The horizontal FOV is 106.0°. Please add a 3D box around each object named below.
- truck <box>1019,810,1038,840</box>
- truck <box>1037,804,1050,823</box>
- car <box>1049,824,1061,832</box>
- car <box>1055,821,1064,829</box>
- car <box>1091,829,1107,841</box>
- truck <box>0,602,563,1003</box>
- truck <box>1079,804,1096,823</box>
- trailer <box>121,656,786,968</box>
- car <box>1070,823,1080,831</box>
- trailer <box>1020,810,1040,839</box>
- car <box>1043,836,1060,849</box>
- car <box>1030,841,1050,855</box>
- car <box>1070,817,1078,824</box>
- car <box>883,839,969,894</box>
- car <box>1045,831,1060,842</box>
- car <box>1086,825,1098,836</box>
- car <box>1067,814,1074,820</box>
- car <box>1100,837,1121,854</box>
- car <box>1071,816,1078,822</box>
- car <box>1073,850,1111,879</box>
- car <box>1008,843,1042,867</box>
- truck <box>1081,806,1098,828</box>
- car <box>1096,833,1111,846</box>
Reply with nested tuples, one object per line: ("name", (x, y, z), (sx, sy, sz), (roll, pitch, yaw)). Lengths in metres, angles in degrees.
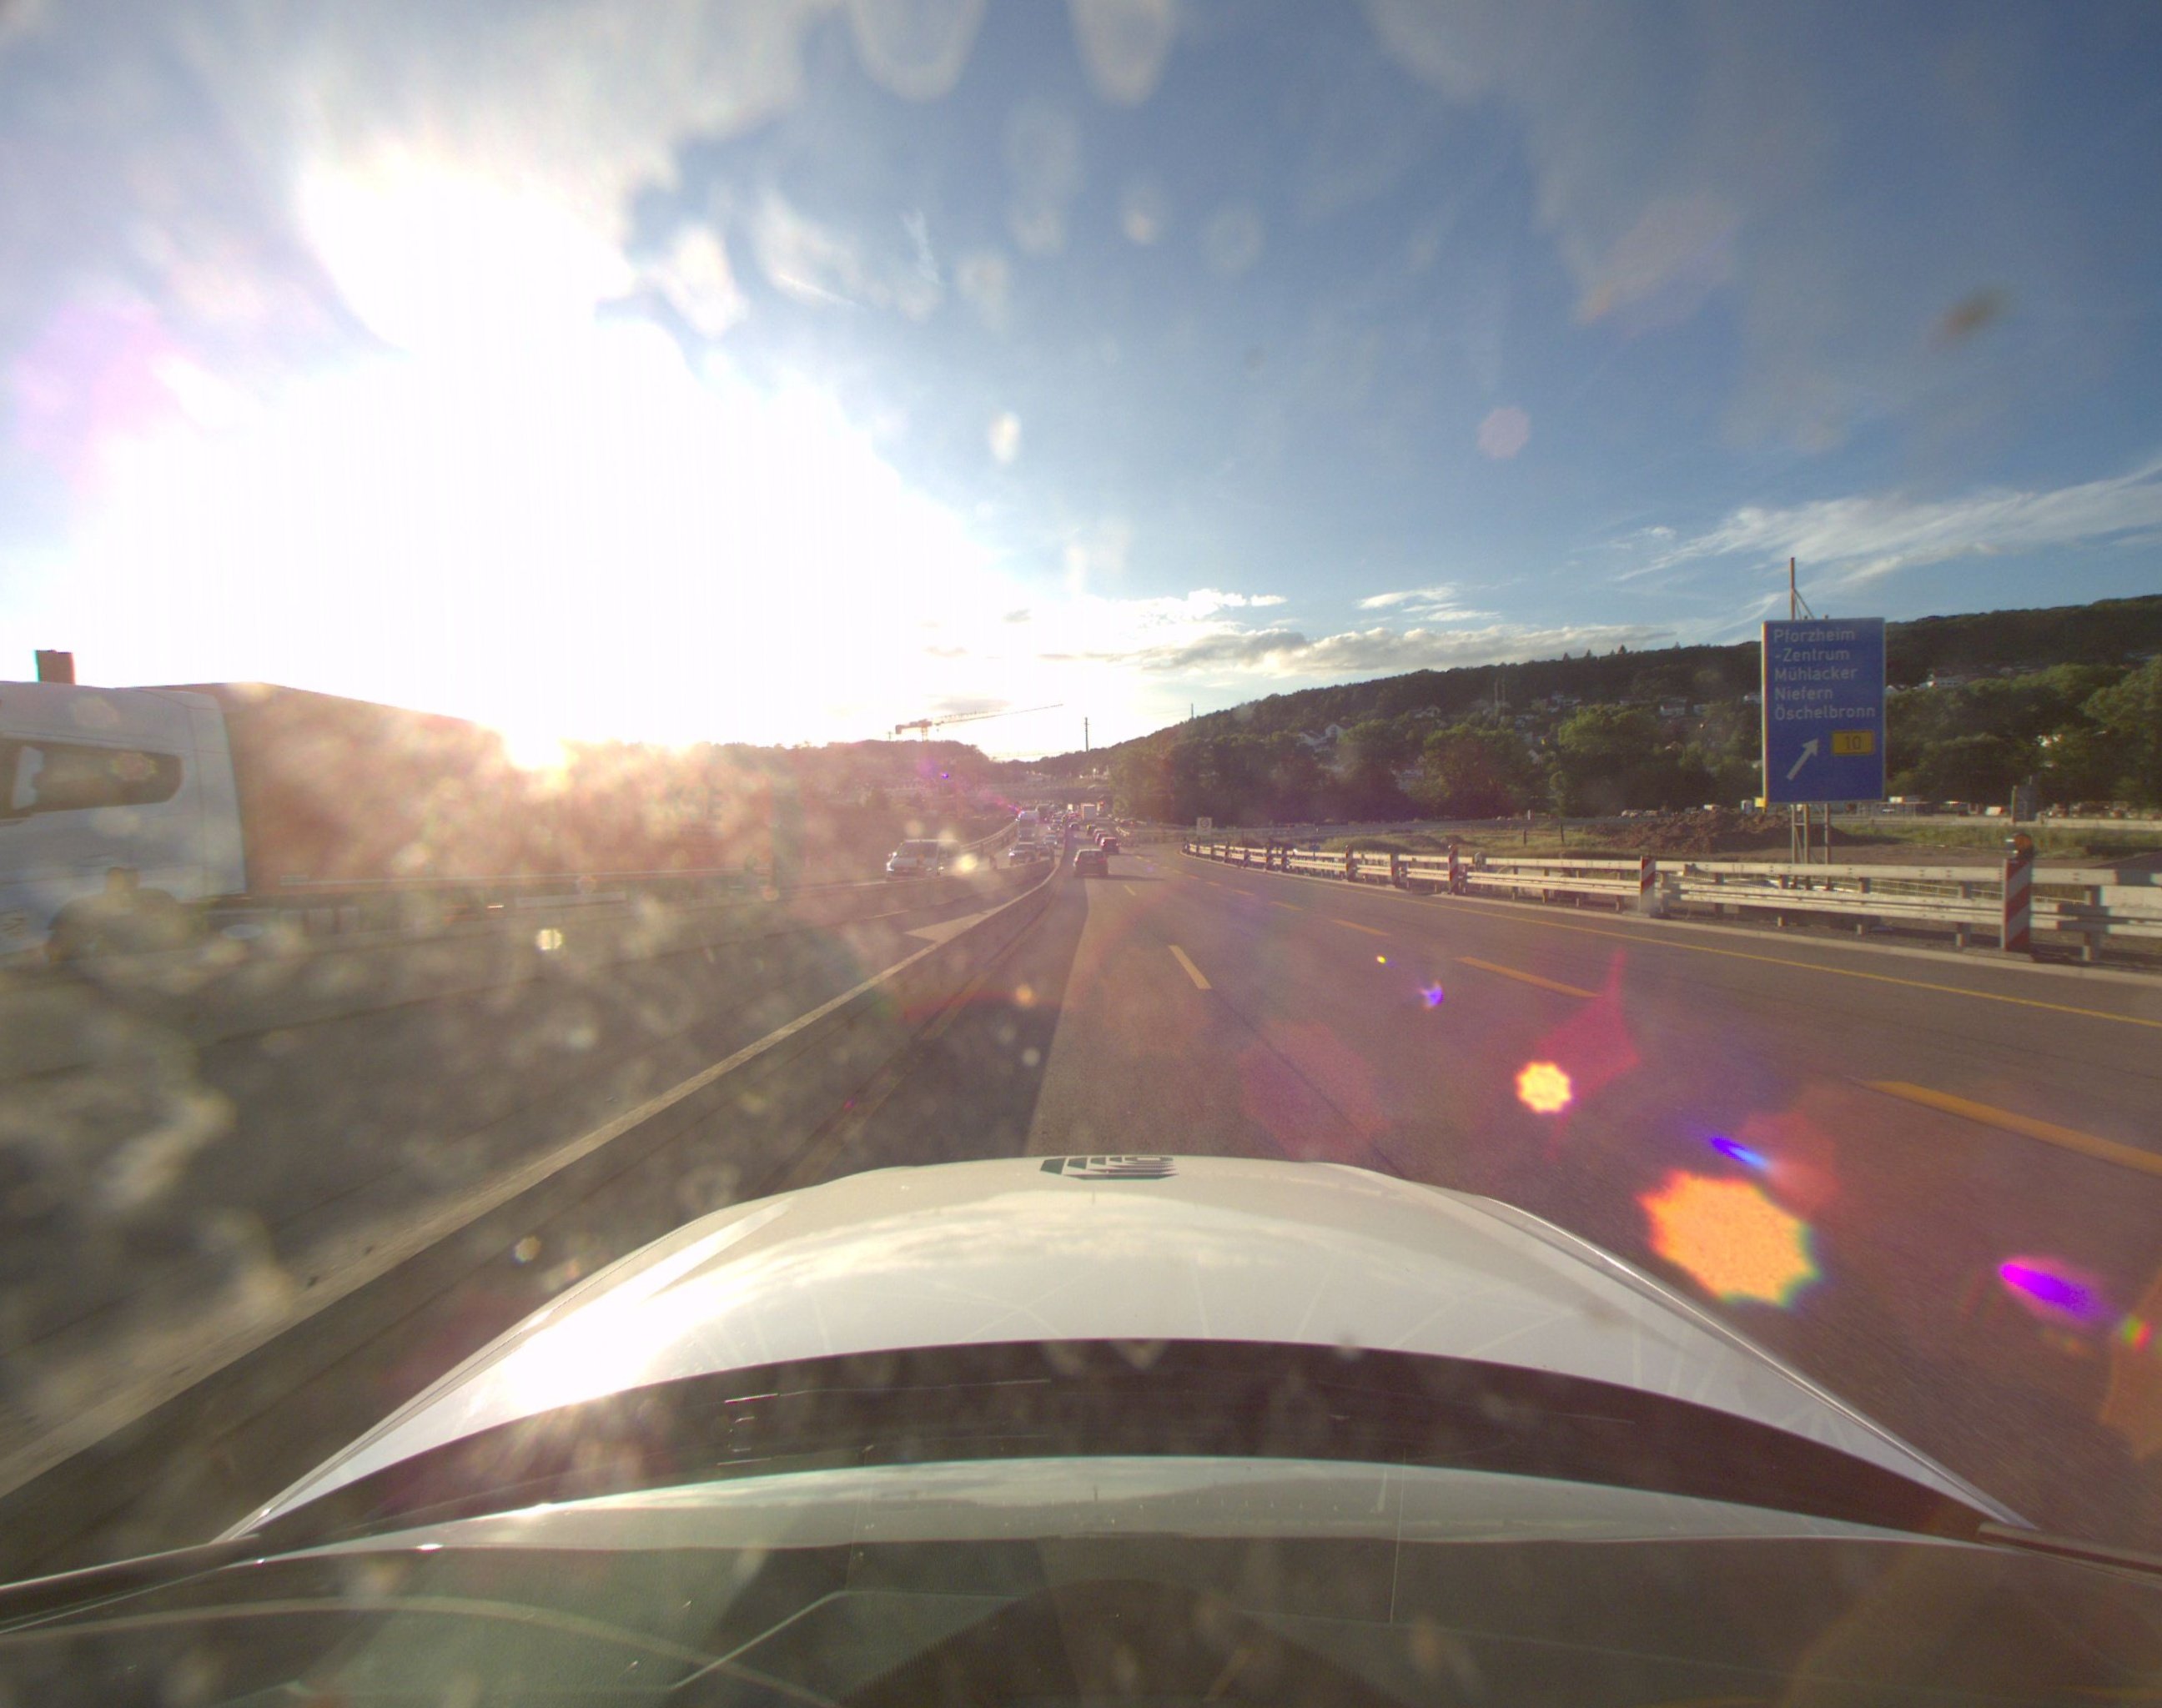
("truck", (-7.647, -4.259, 119.279), (2.545, 4.220, 6.048), (0, 1, -1))
("truck", (-8.404, -9.070, 182.749), (2.762, 4.079, 5.773), (0, 3, -2))
("car", (-4.549, -4.556, 143.043), (1.831, 1.409, 4.494), (-1, 2, -1))
("car", (-4.215, -5.646, 158.866), (1.710, 1.409, 4.326), (-1, 2, -1))
("car", (2.523, -2.702, 114.657), (1.870, 1.599, 4.963), (-1, 3, -2))
("truck", (-12.724, -0.598, 13.014), (2.568, 4.471, 8.354), (0, 0, 9))
("truck", (1.652, -10.179, 203.618), (3.879, 4.496, 15.266), (0, 4, -1))
("trailer", (-11.763, -0.640, 18.865), (2.568, 4.471, 14.174), (0, 0, 10))
("car", (-1.054, -4.922, 148.145), (1.857, 1.420, 4.000), (-1, 2, 0))
("trailer", (-7.822, -4.409, 125.513), (2.524, 4.213, 13.927), (0, 1, -1))
("car", (-3.436, -1.345, 96.093), (1.783, 1.488, 4.220), (0, 1, 0))
("car", (-3.887, -0.607, 78.304), (1.784, 1.357, 4.633), (0, 1, -2))
("car", (-1.641, -7.801, 189.268), (1.917, 1.552, 3.999), (-1, 0, 0))
("car", (-6.028, 0.437, 32.392), (1.984, 2.013, 5.264), (0, 0, 5))
("car", (-3.950, -2.443, 113.947), (1.844, 1.483, 4.511), (-2, 1, 0))
("car", (1.811, -3.836, 131.321), (1.809, 1.631, 4.410), (-1, 3, -2))
("car", (-2.777, -9.587, 212.911), (1.917, 1.551, 4.000), (-1, 2, 0))
("car", (2.857, -0.782, 79.550), (1.808, 1.615, 4.523), (0, 0, -2))
("car", (-1.946, -9.899, 228.776), (1.917, 1.552, 3.999), (0, 0, 0))
("car", (0.513, 0.502, 42.169), (1.766, 1.390, 3.996), (-1, 1, -3))
("car", (-3.952, 0.047, 58.400), (1.781, 1.619, 4.879), (0, 1, 4))
("truck", (1.780, -8.047, 173.743), (3.375, 4.496, 15.268), (0, 4, 0))
("car", (2.838, -1.783, 101.329), (1.768, 1.586, 4.134), (0, 0, 0))
